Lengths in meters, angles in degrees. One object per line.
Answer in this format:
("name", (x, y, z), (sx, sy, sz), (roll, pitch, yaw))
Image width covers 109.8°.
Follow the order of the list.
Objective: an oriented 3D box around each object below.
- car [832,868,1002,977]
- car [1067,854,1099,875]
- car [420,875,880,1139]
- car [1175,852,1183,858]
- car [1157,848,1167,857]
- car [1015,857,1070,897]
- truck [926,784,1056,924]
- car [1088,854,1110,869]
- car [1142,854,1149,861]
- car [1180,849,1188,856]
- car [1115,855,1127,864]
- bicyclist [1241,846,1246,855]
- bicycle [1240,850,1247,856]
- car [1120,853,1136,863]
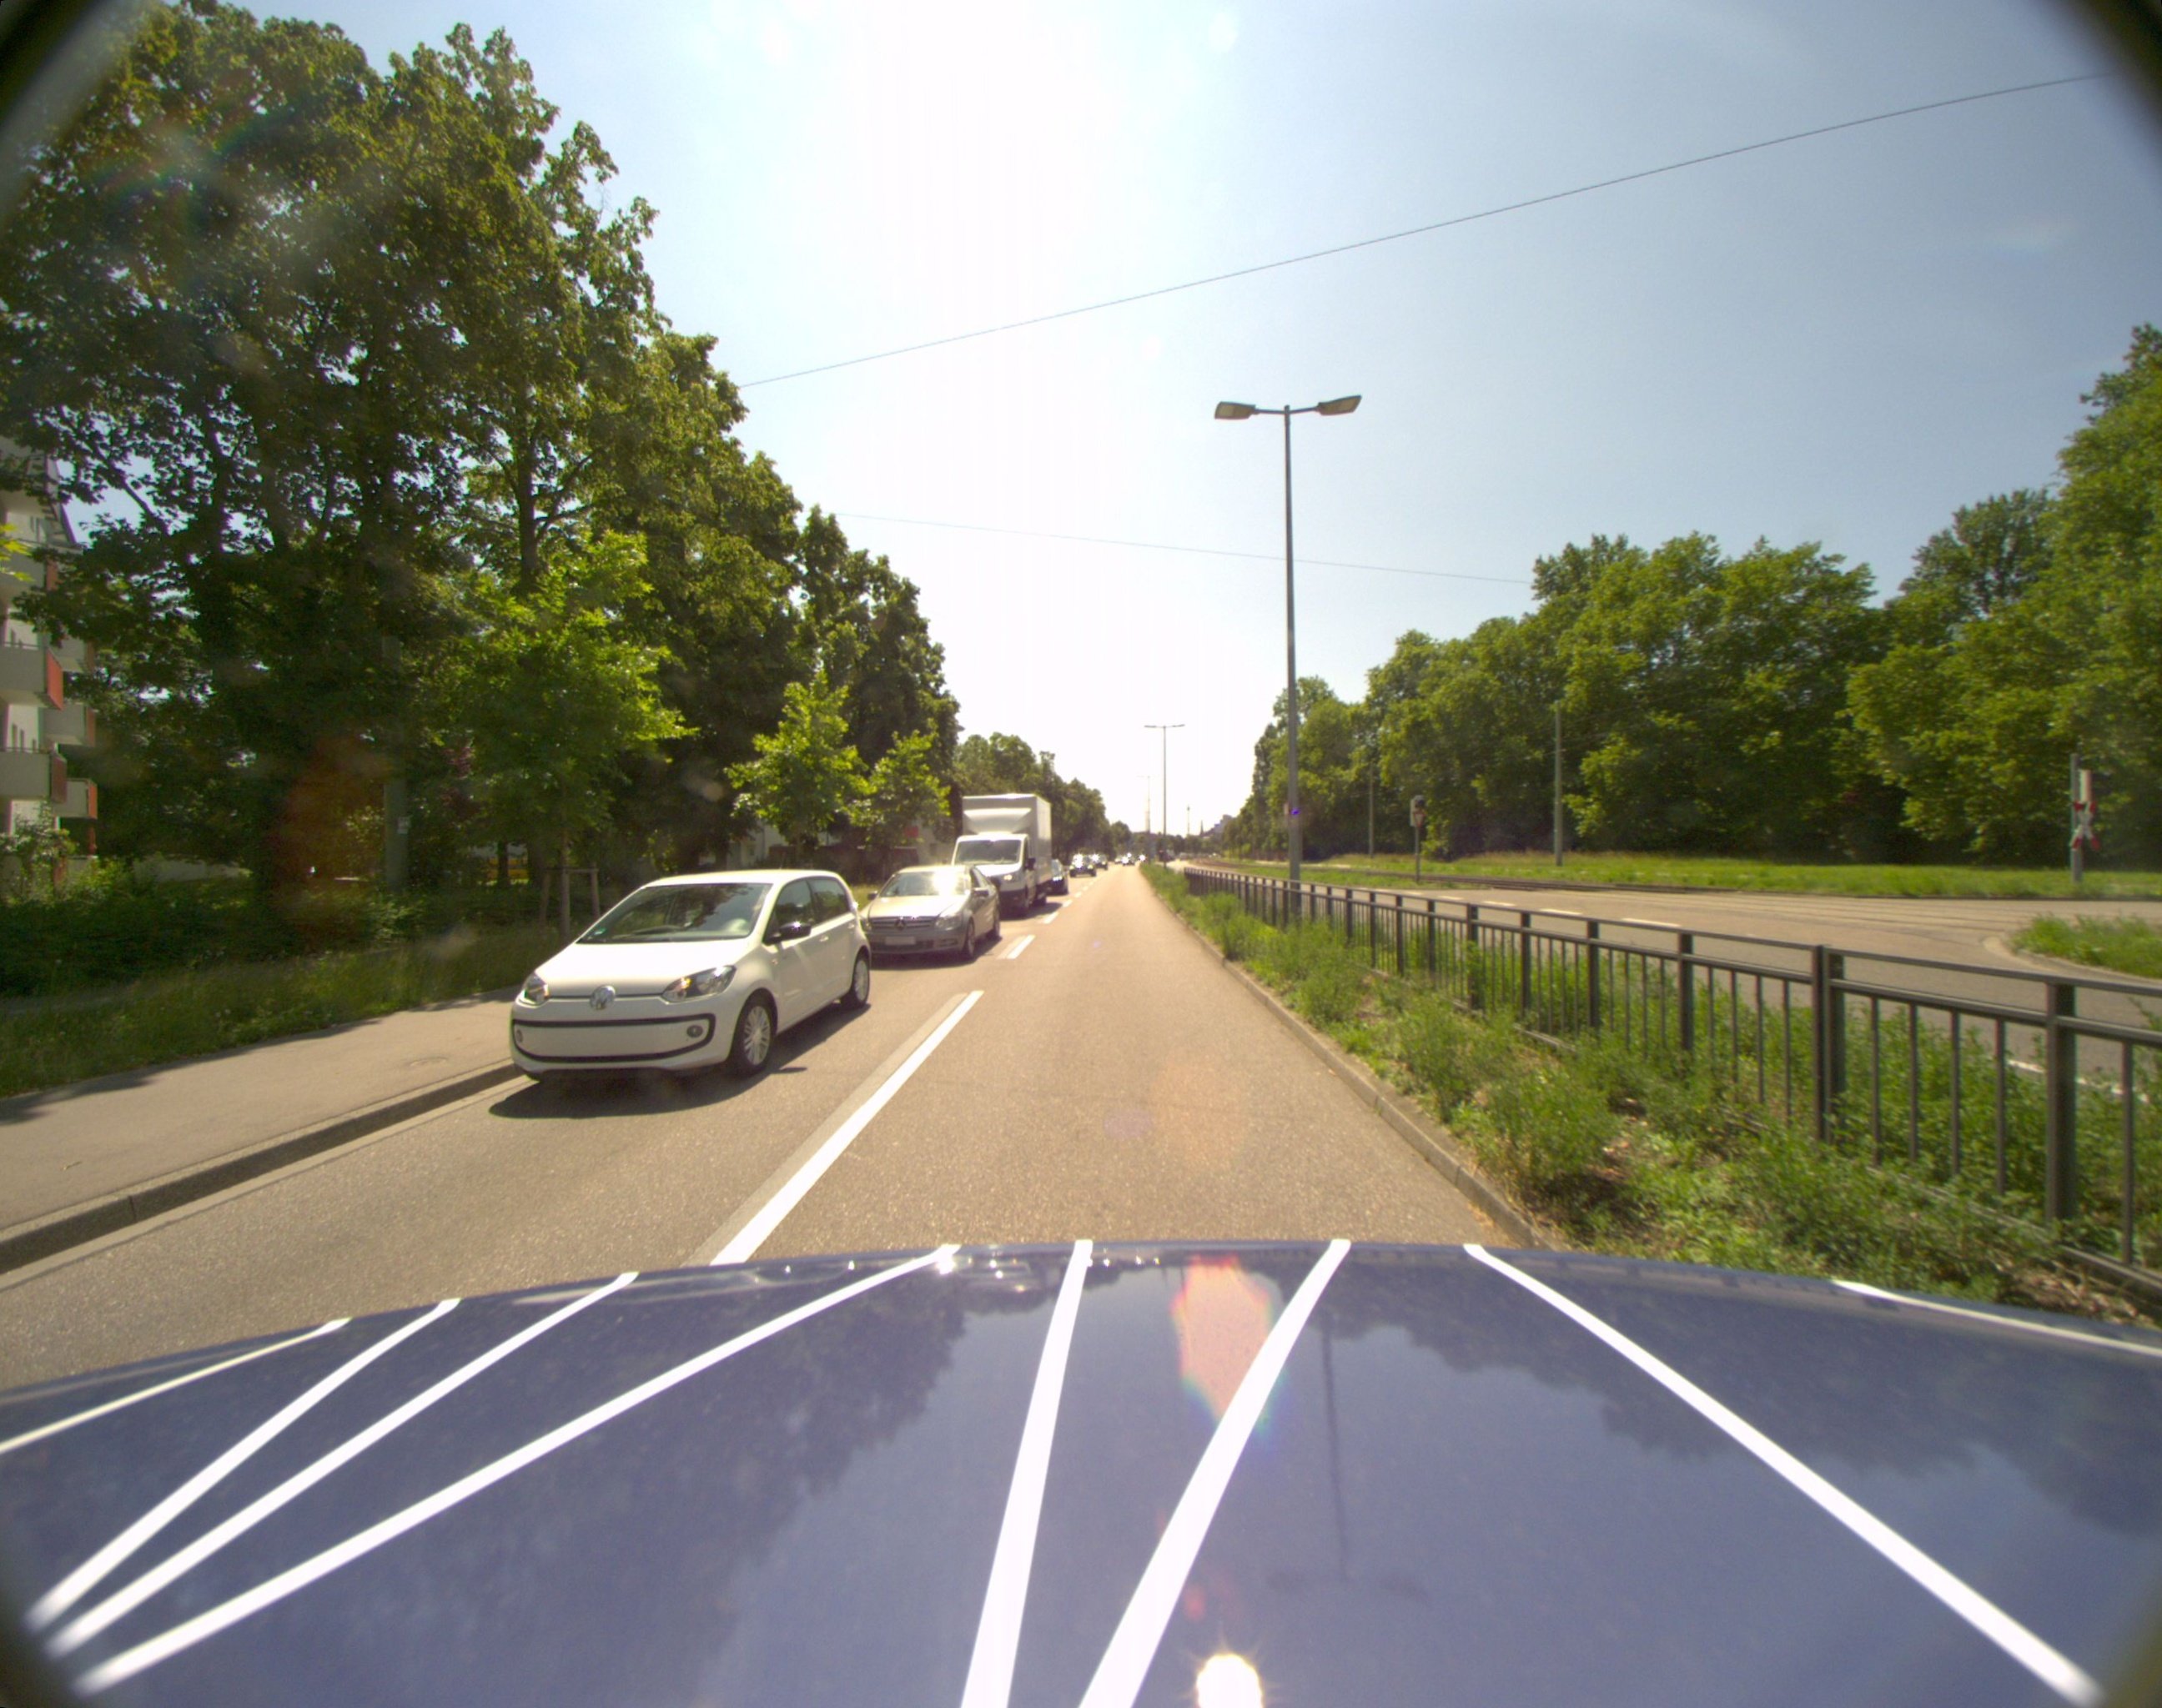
("car", (-2.473, 0.983, 12.537), (1.840, 1.400, 4.087), (-1, 0, 1))
("car", (0.201, 0.804, 57.972), (1.997, 1.499, 4.002), (-1, 0, 7))
("car", (-3.125, 0.986, 6.516), (1.730, 1.470, 3.771), (-1, 0, 1))
("car", (27.375, 0.269, 212.011), (1.998, 1.847, 4.001), (-1, 0, 5))
("car", (16.448, -0.362, 153.924), (1.997, 1.847, 4.002), (-1, 0, 7))
("car", (-1.504, 0.912, 31.451), (1.998, 1.499, 4.000), (-1, 0, 1))
("truck", (-2.297, -0.011, 22.275), (2.433, 3.326, 7.923), (-1, 0, 3))
("car", (1.936, 0.809, 81.119), (1.997, 1.499, 4.002), (-1, 0, 7))
("car", (17.012, 0.870, 200.078), (1.998, 1.847, 4.001), (-1, 0, 5))
("car", (27.230, -0.445, 200.851), (1.998, 1.847, 4.001), (-1, 0, 5))
("car", (7.290, 0.957, 138.704), (1.951, 1.499, 4.002), (-1, 0, 7))
("bicyclist", (32.978, -0.799, 154.061), (0.862, 1.796, 1.118), (-1, 1, 1))
("bicycle", (32.963, -0.252, 154.124), (0.862, 1.155, 2.787), (-1, 0, 1))
("car", (6.967, 0.602, 112.409), (1.997, 1.499, 4.002), (-1, 0, 7))
